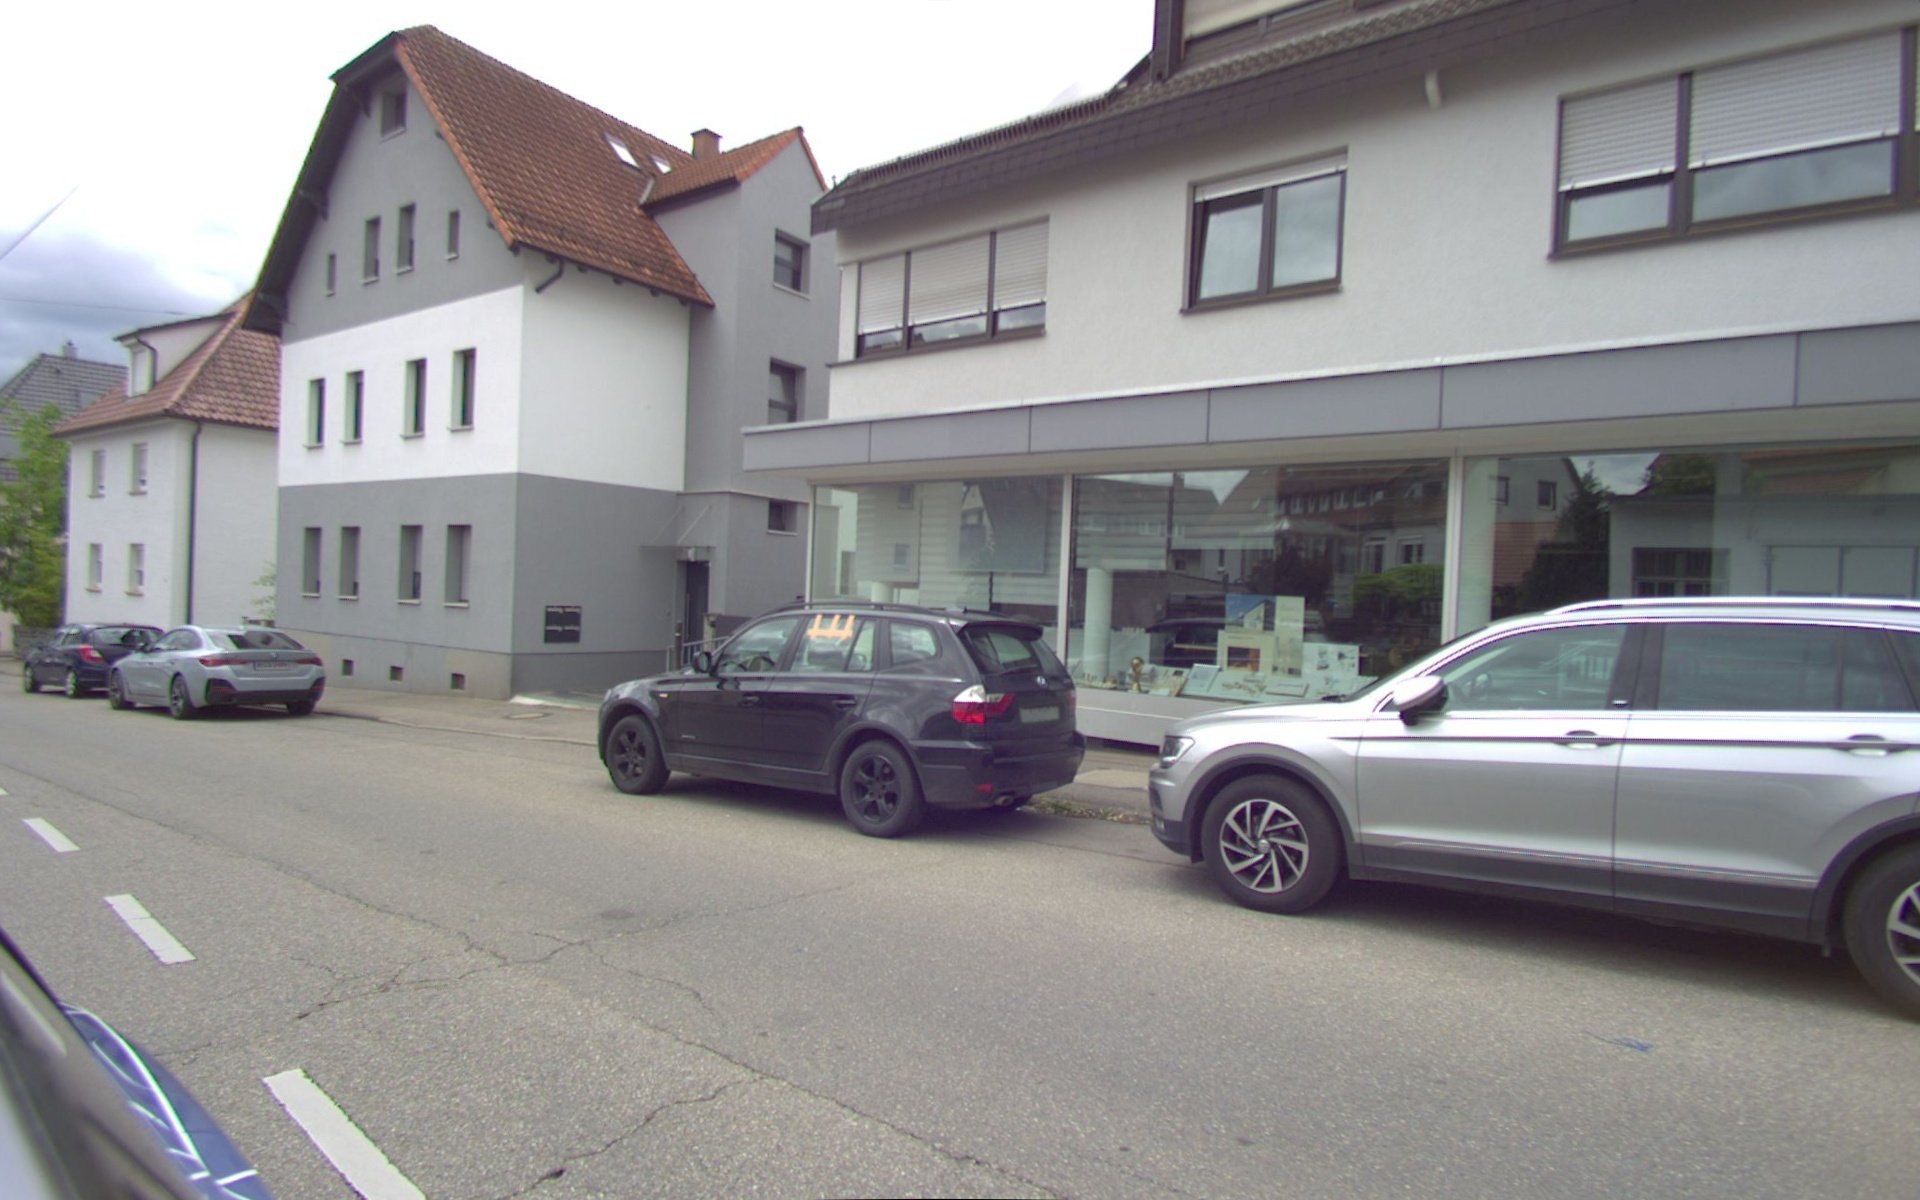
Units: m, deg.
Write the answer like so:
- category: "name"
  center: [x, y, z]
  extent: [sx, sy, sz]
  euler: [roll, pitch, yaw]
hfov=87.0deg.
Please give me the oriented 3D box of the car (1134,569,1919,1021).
- category: "car"
  center: [3.268, 0.758, 5.010]
  extent: [4.399, 1.645, 1.821]
  euler: [-1, -3, 36]

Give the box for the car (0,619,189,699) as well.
- category: "car"
  center: [-17.676, 1.170, 20.631]
  extent: [3.988, 1.456, 1.823]
  euler: [0, -3, 33]

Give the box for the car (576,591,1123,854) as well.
- category: "car"
  center: [-1.051, 0.826, 8.379]
  extent: [4.399, 1.645, 1.821]
  euler: [-1, -3, 36]

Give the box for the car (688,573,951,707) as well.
- category: "car"
  center: [-2.136, 0.633, 16.343]
  extent: [1.997, 1.870, 3.950]
  euler: [0, -2, 37]

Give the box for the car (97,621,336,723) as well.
- category: "car"
  center: [-12.319, 1.118, 16.678]
  extent: [4.458, 1.456, 1.821]
  euler: [-1, -4, 36]
